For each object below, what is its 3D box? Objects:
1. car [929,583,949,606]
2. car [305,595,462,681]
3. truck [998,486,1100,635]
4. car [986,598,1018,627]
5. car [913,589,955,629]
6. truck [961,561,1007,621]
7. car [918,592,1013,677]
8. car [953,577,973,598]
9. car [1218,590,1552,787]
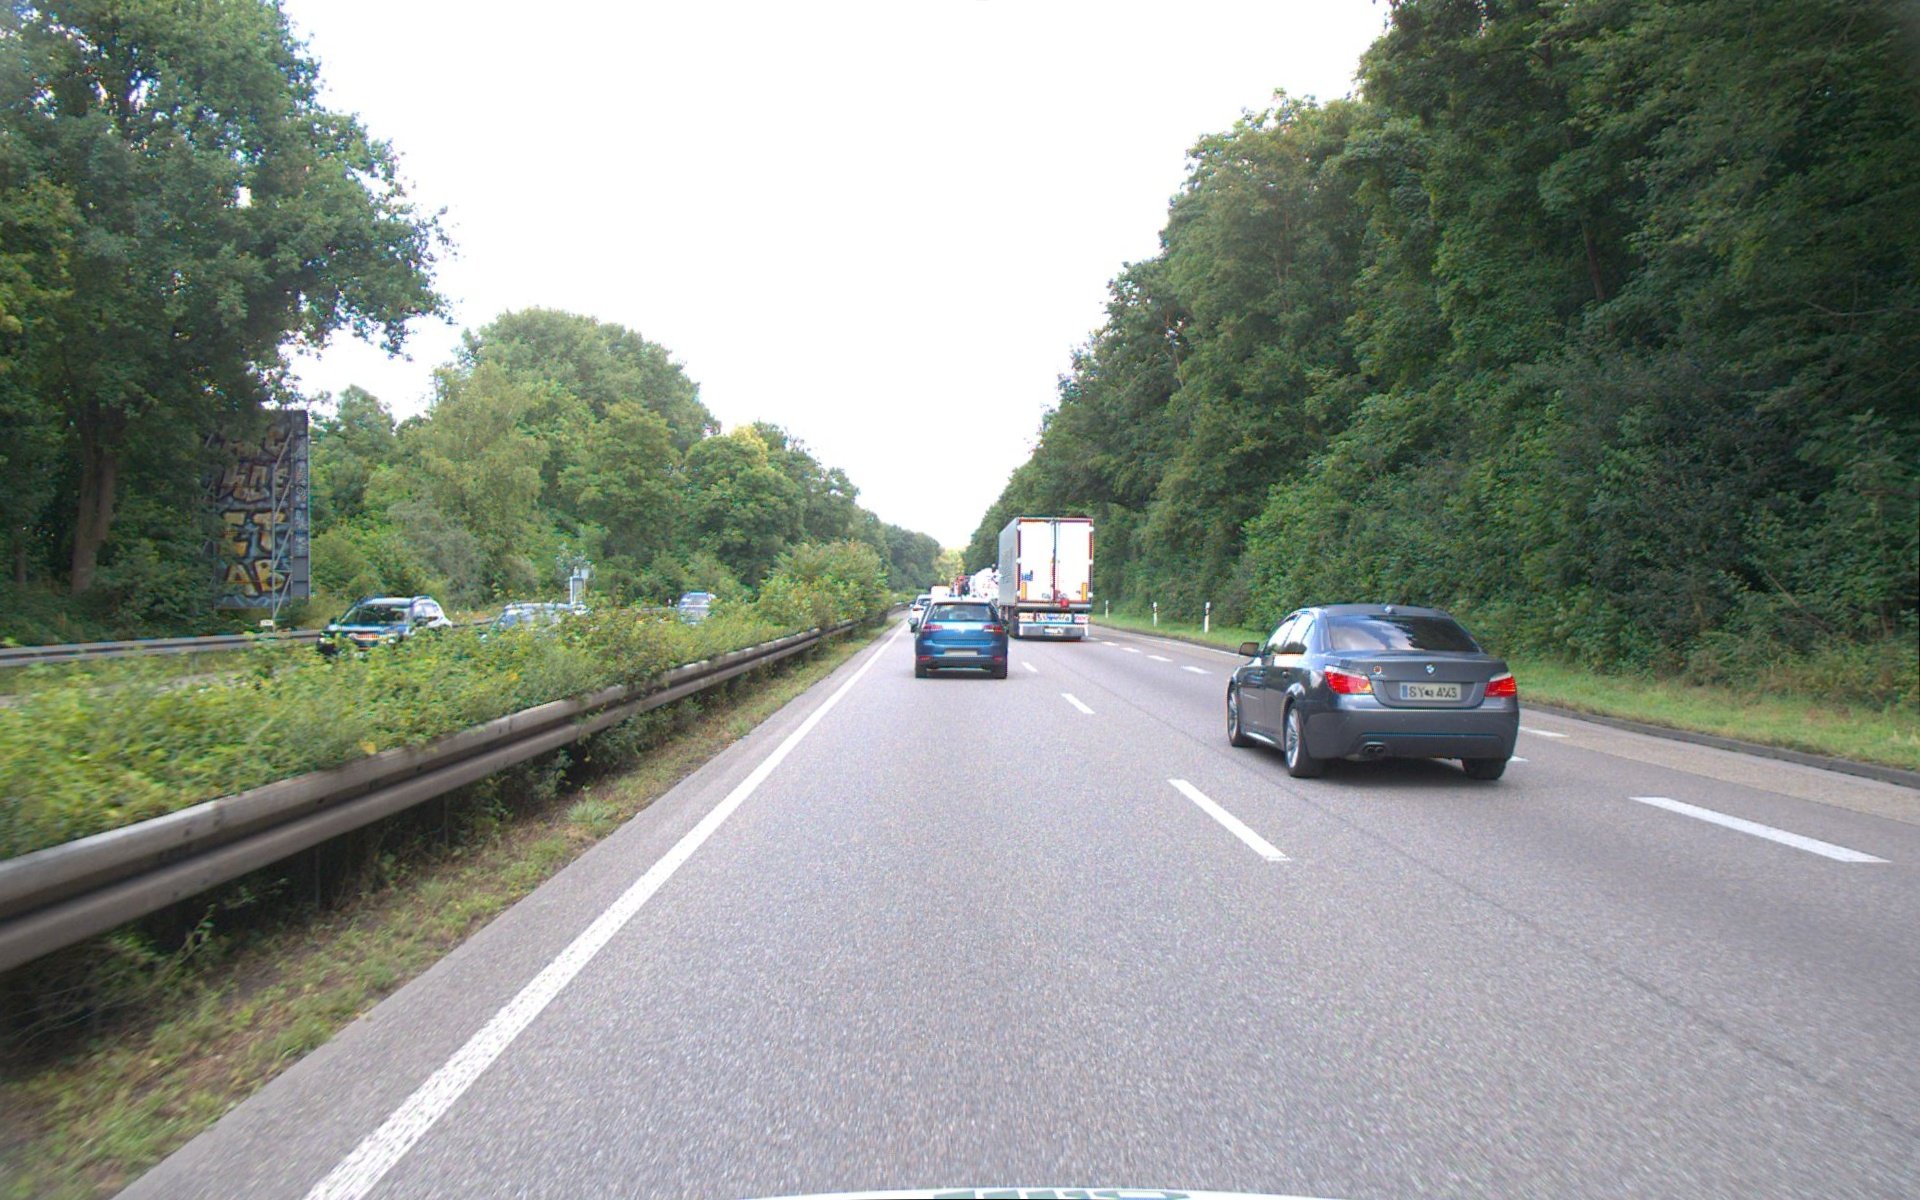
[{"bbox_3d":[-2.229,-0.595,174.523,1.954,2.294,4.439,-1,0,-3],"label":"car"},{"bbox_3d":[-12.268,0.767,35.523,1.791,1.690,4.594,1,0,-1],"label":"car"},{"bbox_3d":[3.024,-1.325,59.200,3.175,4.798,11.008,0,0,1],"label":"truck"},{"bbox_3d":[2.581,0.762,102.673,1.850,1.759,3.999,-1,0,-1],"label":"car"},{"bbox_3d":[-1.031,0.340,66.236,1.631,1.526,4.151,1,0,-1],"label":"car"},{"bbox_3d":[1.946,-0.608,129.157,3.165,4.463,12.974,1,0,3],"label":"truck"},{"bbox_3d":[0.049,0.612,31.479,1.670,1.495,3.999,1,0,-1],"label":"car"},{"bbox_3d":[0.348,-1.466,190.462,1.954,2.368,4.439,0,0,-3],"label":"car"},{"bbox_3d":[3.693,0.686,15.324,1.738,1.501,4.879,1,0,-1],"label":"car"}]
